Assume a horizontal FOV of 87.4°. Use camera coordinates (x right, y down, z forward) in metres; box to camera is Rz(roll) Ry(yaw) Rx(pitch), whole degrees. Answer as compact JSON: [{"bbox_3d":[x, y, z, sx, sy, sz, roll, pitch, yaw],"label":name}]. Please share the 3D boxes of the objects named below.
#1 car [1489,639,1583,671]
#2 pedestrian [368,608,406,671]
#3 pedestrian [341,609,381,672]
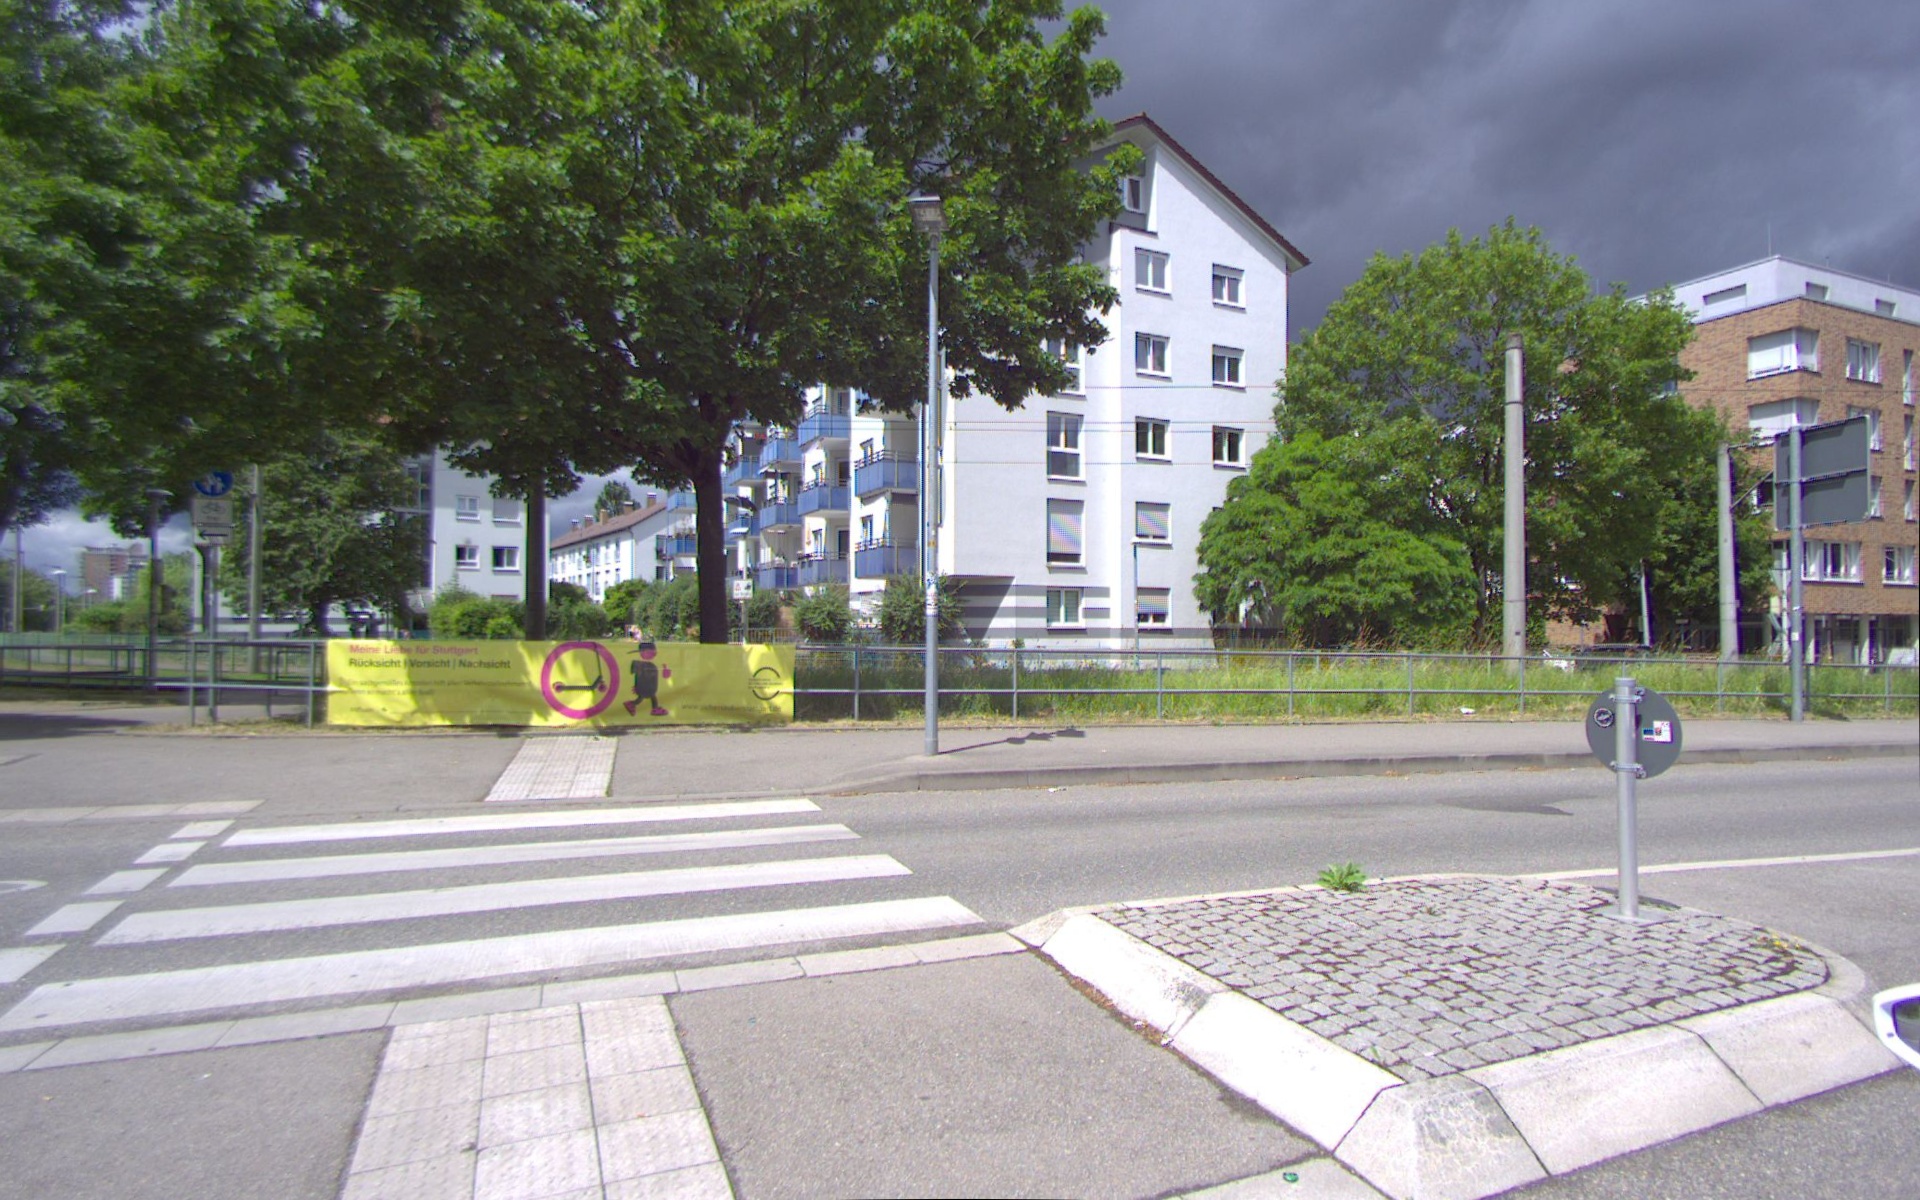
[{"bbox_3d":[25.799,2.441,45.091,1.602,1.251,3.319,-1,-1,-29],"label":"car"},{"bbox_3d":[-18.962,1.309,33.238,0.716,2.040,0.979,1,-2,-6],"label":"pedestrian"},{"bbox_3d":[-19.745,1.327,33.132,0.716,2.040,0.979,1,-2,-6],"label":"pedestrian"}]
